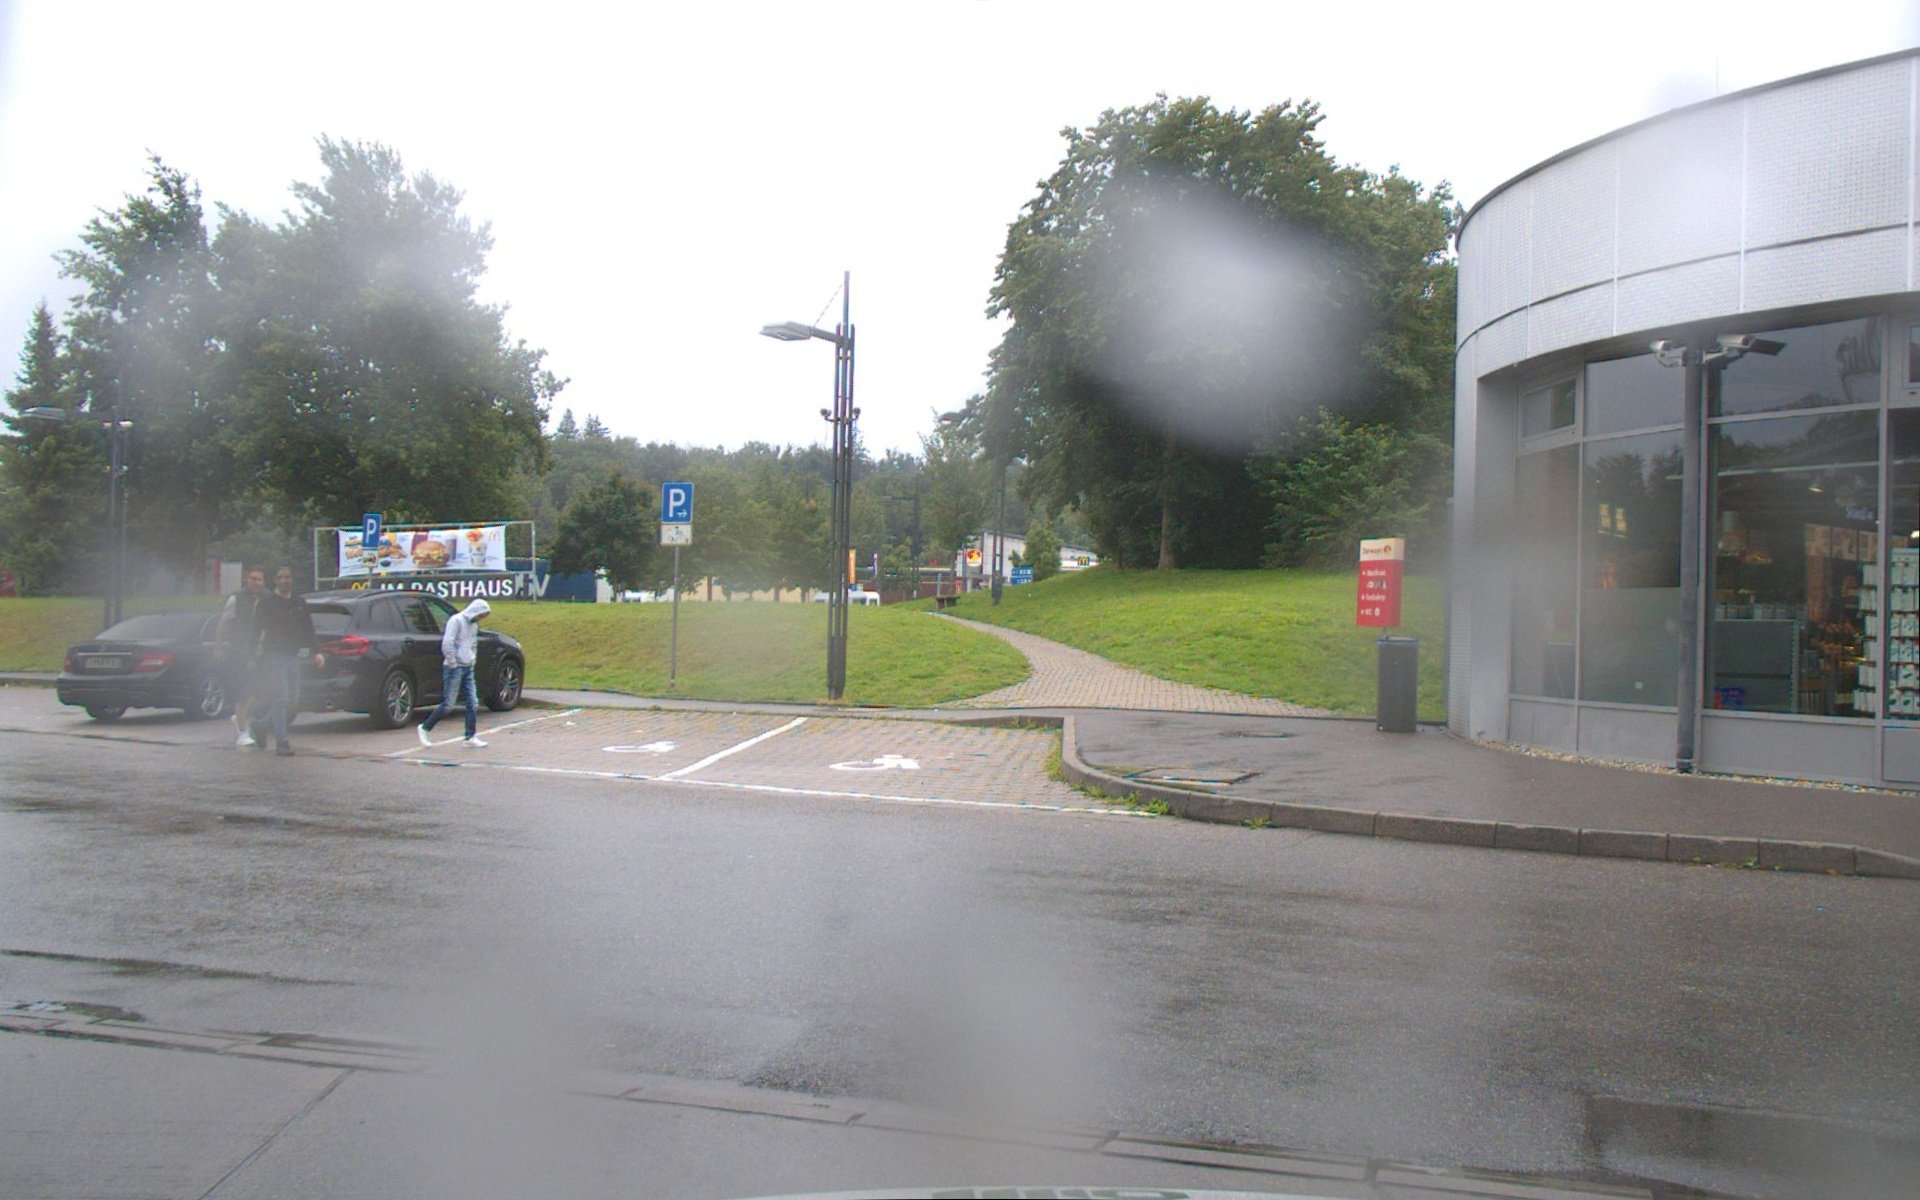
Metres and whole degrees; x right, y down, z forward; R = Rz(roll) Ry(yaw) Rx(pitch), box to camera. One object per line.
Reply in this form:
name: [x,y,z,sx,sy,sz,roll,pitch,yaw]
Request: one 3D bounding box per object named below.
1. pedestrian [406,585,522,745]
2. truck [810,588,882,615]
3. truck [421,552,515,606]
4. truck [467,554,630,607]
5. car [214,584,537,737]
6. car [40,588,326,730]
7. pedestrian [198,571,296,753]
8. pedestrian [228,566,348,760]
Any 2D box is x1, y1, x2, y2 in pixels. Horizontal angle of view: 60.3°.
pedestrian: [-5.329,0.678,17.779,0.931,1.660,0.704,1,-1,18]
truck: [-9.217,0.137,133.679,5.298,2.049,2.366,1,0,24]
truck: [-27.970,-1.171,94.268,2.142,2.971,5.384,1,0,24]
truck: [-24.918,-1.088,101.283,2.142,2.971,13.092,1,0,23]
car: [-7.364,0.692,21.383,1.973,1.741,4.347,-1,1,11]
car: [-10.571,0.718,22.901,1.976,1.741,4.342,-1,1,-2]
pedestrian: [-7.784,0.655,18.043,0.698,1.920,0.940,1,-1,-41]
pedestrian: [-6.848,0.623,16.870,0.873,1.920,0.703,1,-1,27]
